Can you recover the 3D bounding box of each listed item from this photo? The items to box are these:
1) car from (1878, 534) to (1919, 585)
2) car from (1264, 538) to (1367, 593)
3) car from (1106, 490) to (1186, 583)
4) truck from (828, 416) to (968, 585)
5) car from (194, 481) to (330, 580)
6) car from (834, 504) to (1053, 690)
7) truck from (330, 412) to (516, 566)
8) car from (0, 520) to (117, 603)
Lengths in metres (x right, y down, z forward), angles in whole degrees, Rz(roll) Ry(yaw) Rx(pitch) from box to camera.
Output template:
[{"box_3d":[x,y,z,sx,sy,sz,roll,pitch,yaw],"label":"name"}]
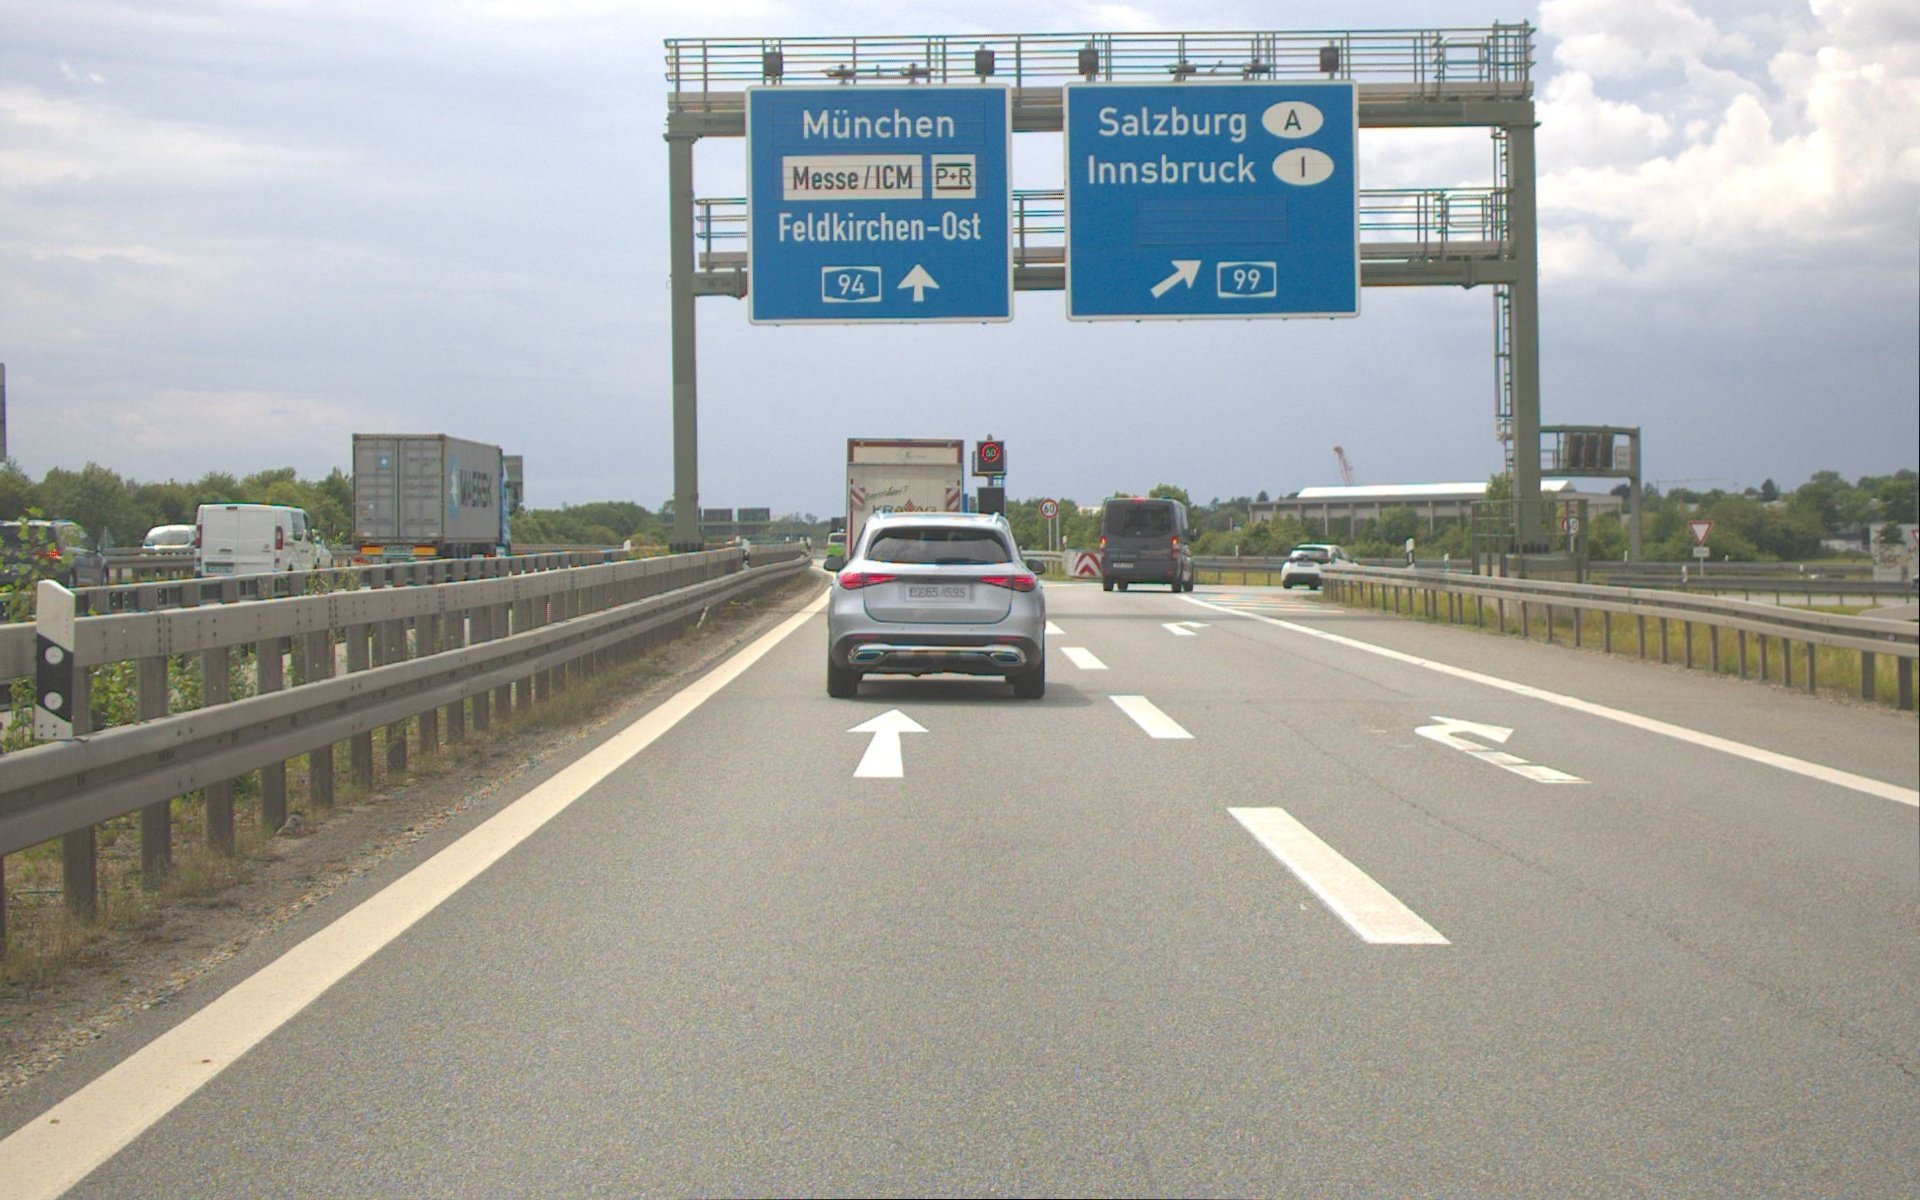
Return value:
[{"box_3d":[40.381,-1.593,143.087,3.986,2.006,1.784,3,1,-29],"label":"car"},{"box_3d":[11.742,-1.148,113.446,1.997,1.703,3.994,2,2,28],"label":"car"},{"box_3d":[4.662,-1.629,86.756,1.906,2.254,4.649,1,2,2],"label":"car"},{"box_3d":[-1.197,-1.921,68.562,2.569,3.115,8.635,1,1,-1],"label":"truck"},{"box_3d":[-14.677,-1.495,72.517,1.993,2.006,4.375,1,2,0],"label":"car"},{"box_3d":[-0.150,-0.078,30.873,1.819,1.509,4.001,1,2,0],"label":"car"},{"box_3d":[-15.175,-3.213,98.512,3.183,4.005,16.077,1,2,-2],"label":"truck"},{"box_3d":[-18.578,-0.799,69.735,1.881,1.541,4.615,1,2,-1],"label":"car"}]
